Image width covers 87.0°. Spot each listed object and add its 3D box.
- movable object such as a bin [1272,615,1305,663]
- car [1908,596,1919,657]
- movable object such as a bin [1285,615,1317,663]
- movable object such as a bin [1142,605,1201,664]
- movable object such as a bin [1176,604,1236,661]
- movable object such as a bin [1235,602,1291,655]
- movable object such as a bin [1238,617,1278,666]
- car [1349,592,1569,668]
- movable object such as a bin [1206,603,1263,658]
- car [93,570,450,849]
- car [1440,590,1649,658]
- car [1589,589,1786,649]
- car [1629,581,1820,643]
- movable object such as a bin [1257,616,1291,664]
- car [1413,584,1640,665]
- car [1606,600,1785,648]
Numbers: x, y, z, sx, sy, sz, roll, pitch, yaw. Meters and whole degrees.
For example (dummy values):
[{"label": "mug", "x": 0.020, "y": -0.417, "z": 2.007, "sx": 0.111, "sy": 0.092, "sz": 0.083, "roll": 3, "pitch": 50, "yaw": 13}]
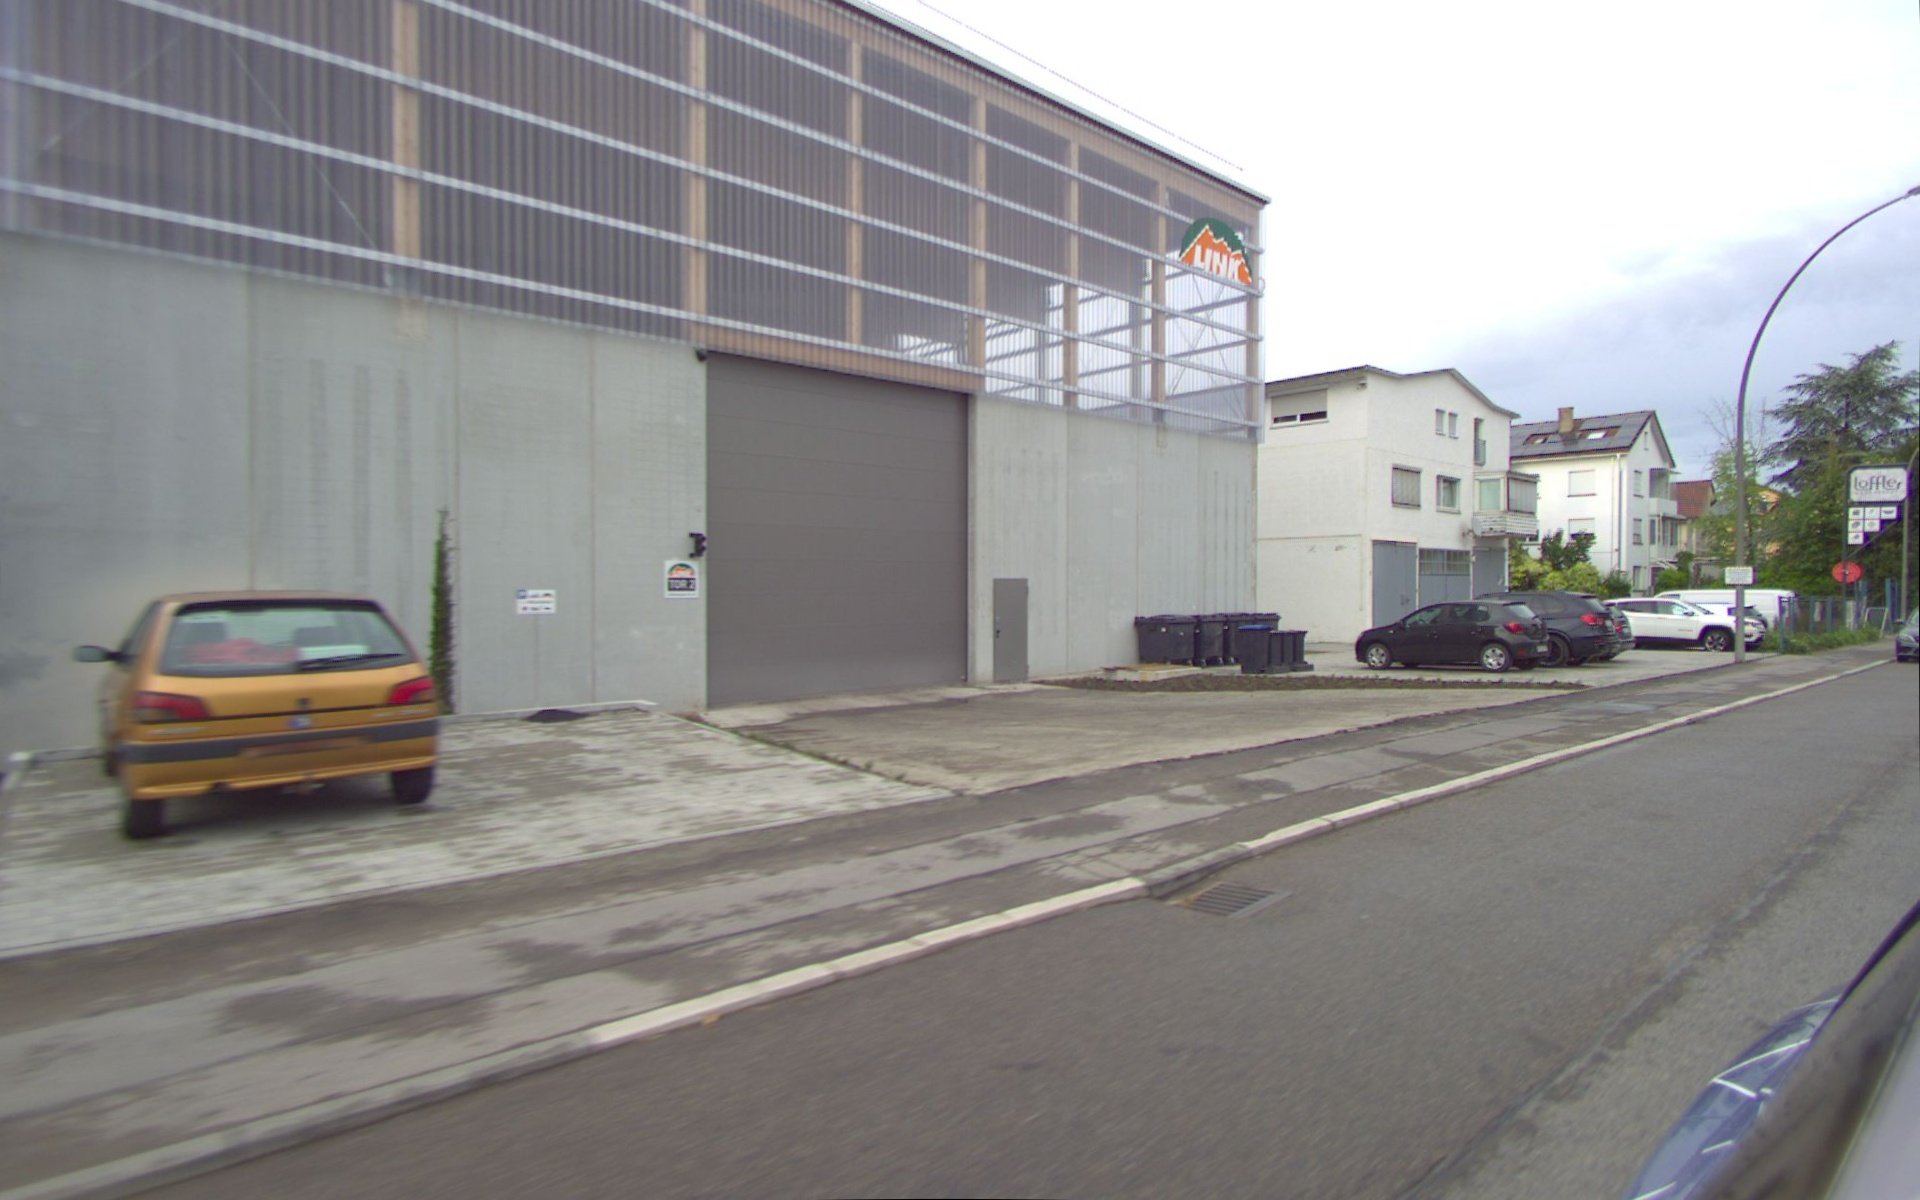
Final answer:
[{"label": "movable object such as a bin", "x": 7.522, "y": 0.885, "z": 23.204, "sx": 0.543, "sy": 1.068, "sz": 0.496, "roll": 0, "pitch": -1, "yaw": -40}, {"label": "car", "x": 25.764, "y": 0.644, "z": 25.983, "sx": 4.469, "sy": 1.485, "sz": 1.740, "roll": -1, "pitch": 0, "yaw": -43}, {"label": "movable object such as a bin", "x": 7.931, "y": 0.897, "z": 23.548, "sx": 0.496, "sy": 1.068, "sz": 0.518, "roll": 0, "pitch": -1, "yaw": -40}, {"label": "movable object such as a bin", "x": 5.084, "y": 0.808, "z": 24.327, "sx": 1.192, "sy": 1.357, "sz": 0.839, "roll": 0, "pitch": -1, "yaw": -40}, {"label": "movable object such as a bin", "x": 6.113, "y": 0.780, "z": 25.139, "sx": 1.298, "sy": 1.357, "sz": 0.839, "roll": -1, "pitch": -1, "yaw": -40}, {"label": "movable object such as a bin", "x": 8.076, "y": 0.743, "z": 26.929, "sx": 1.307, "sy": 1.357, "sz": 0.839, "roll": -1, "pitch": -1, "yaw": -40}, {"label": "movable object such as a bin", "x": 6.614, "y": 0.910, "z": 22.473, "sx": 0.633, "sy": 1.068, "sz": 0.575, "roll": 0, "pitch": -1, "yaw": -40}, {"label": "car", "x": 10.894, "y": 0.597, "z": 22.310, "sx": 1.800, "sy": 1.509, "sz": 3.974, "roll": 0, "pitch": 0, "yaw": -39}, {"label": "movable object such as a bin", "x": 7.063, "y": 0.757, "z": 26.051, "sx": 1.262, "sy": 1.357, "sz": 0.839, "roll": 0, "pitch": -1, "yaw": -40}, {"label": "car", "x": -5.117, "y": 0.552, "z": 7.276, "sx": 1.603, "sy": 1.448, "sz": 3.992, "roll": 0, "pitch": 0, "yaw": -42}, {"label": "car", "x": 14.769, "y": 0.595, "z": 25.757, "sx": 1.780, "sy": 1.555, "sz": 4.250, "roll": -1, "pitch": -1, "yaw": -41}, {"label": "car", "x": 21.544, "y": 0.528, "z": 30.113, "sx": 1.861, "sy": 1.645, "sz": 4.451, "roll": -1, "pitch": 0, "yaw": -41}, {"label": "car", "x": 25.326, "y": 0.372, "z": 33.661, "sx": 1.965, "sy": 1.910, "sz": 4.739, "roll": -1, "pitch": 0, "yaw": -40}, {"label": "movable object such as a bin", "x": 7.084, "y": 0.891, "z": 22.837, "sx": 0.534, "sy": 1.068, "sz": 0.513, "roll": 0, "pitch": -1, "yaw": -40}, {"label": "car", "x": 13.096, "y": 0.529, "z": 23.590, "sx": 1.947, "sy": 1.696, "sz": 4.231, "roll": -1, "pitch": 0, "yaw": -42}, {"label": "car", "x": 23.287, "y": 0.725, "z": 32.181, "sx": 1.818, "sy": 1.396, "sz": 4.326, "roll": -1, "pitch": 0, "yaw": -41}]
